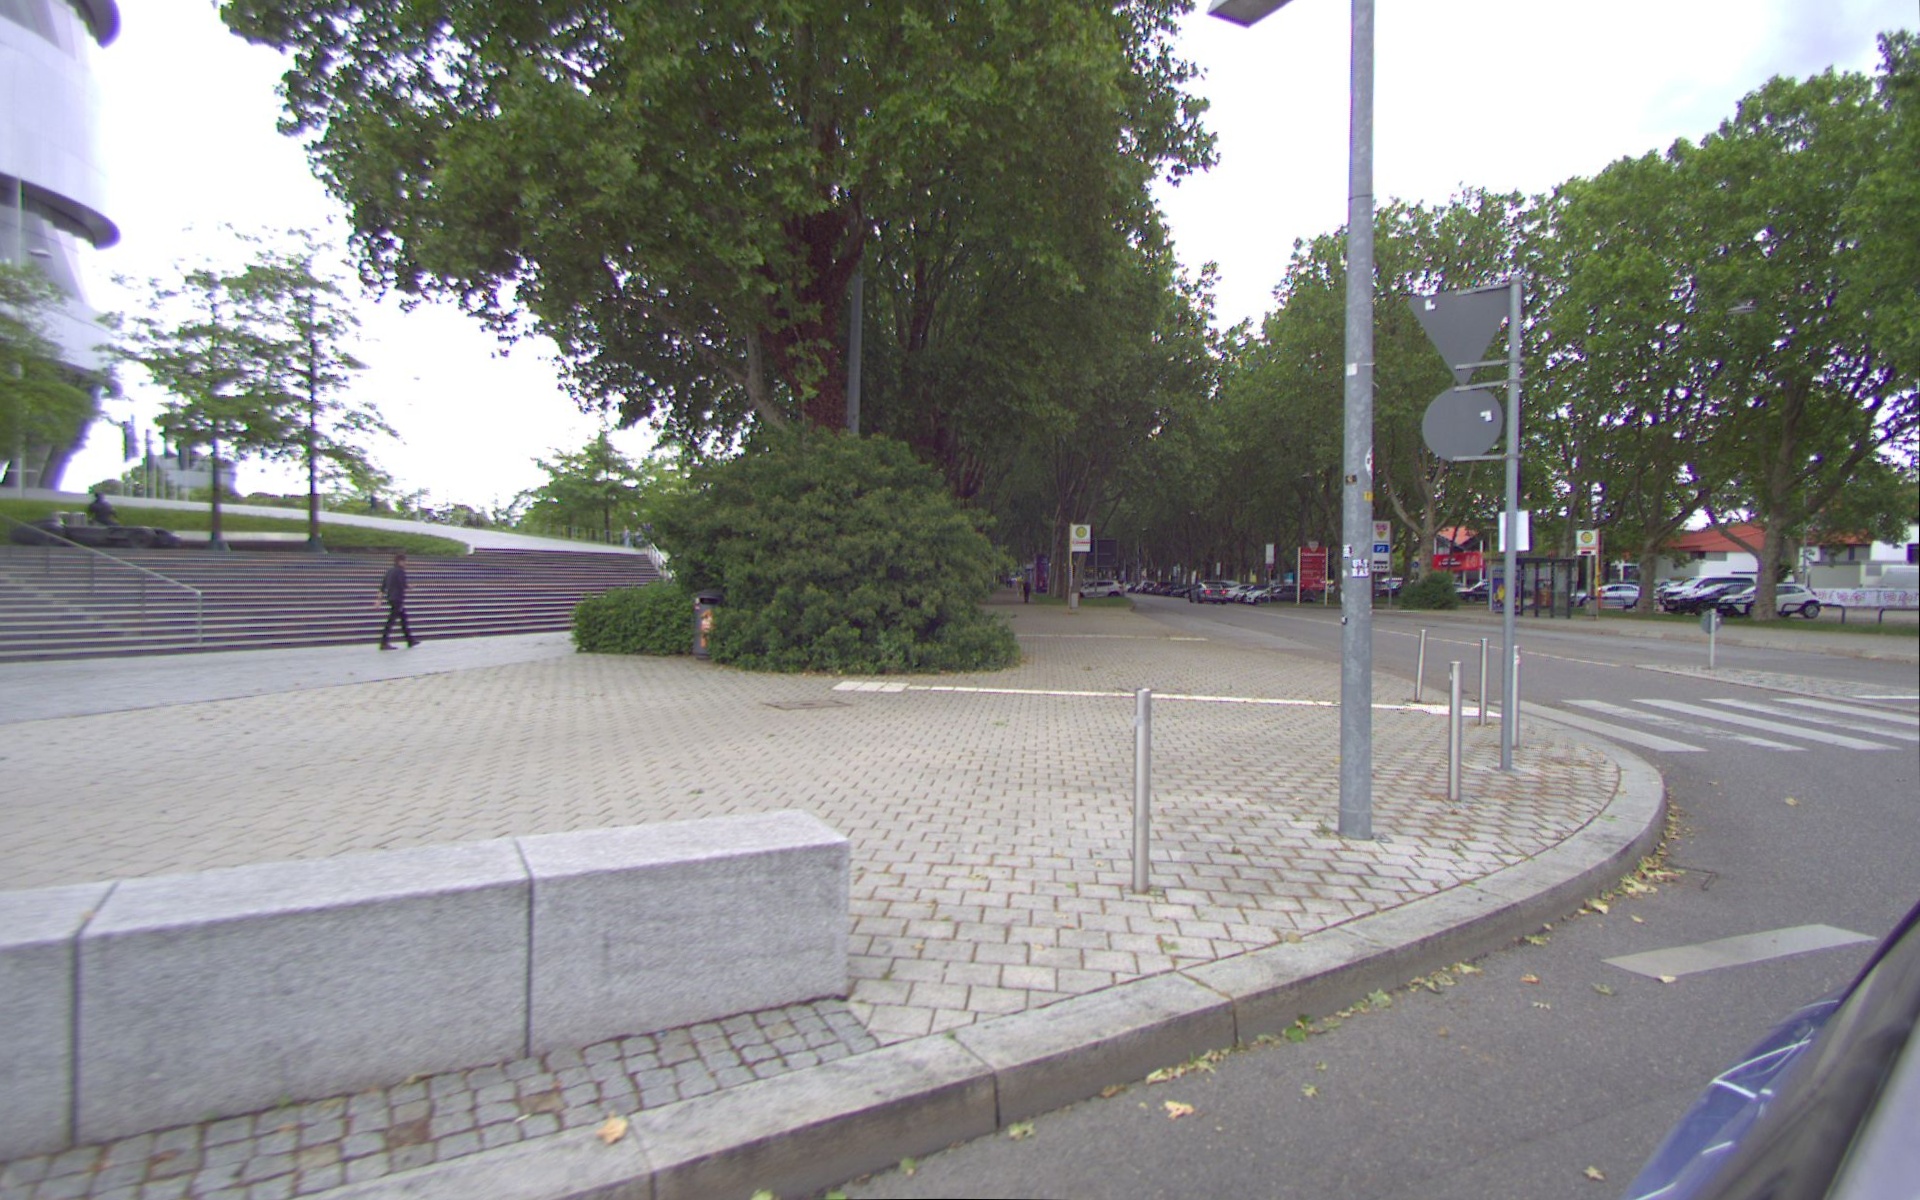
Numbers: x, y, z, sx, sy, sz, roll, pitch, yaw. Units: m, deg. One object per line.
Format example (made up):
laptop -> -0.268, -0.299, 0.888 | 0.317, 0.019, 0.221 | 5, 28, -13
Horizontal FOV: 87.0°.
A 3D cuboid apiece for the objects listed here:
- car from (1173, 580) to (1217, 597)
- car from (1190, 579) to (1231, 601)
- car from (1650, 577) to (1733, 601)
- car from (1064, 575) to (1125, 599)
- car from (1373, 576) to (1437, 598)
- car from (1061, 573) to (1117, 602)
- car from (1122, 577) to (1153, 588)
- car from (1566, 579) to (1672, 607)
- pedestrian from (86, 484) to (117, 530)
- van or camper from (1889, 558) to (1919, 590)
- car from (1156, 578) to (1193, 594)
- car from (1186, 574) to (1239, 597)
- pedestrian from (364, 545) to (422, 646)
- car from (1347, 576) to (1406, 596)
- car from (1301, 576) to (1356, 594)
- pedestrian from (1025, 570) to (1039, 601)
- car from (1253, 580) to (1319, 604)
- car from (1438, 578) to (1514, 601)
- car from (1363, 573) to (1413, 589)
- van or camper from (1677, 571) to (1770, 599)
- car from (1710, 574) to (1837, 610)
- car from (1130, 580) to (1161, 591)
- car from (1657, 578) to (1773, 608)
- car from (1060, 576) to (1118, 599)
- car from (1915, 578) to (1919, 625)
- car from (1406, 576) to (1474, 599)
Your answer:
car -> 22.886, -1.160, 98.603 | 3.924, 1.438, 1.752 | 3, 1, 7
car -> 17.468, -0.723, 70.792 | 1.872, 1.471, 4.811 | 2, 1, 3
car -> 48.311, -0.747, 66.906 | 4.153, 1.567, 1.789 | 0, 1, 2
car -> 9.883, -0.966, 74.525 | 4.282, 1.654, 1.923 | -1, 0, 4
car -> 37.992, -1.129, 86.512 | 4.450, 1.784, 2.295 | 0, 1, 3
car -> 9.459, -0.950, 74.429 | 3.928, 2.039, 1.998 | -1, 0, 4
car -> 26.416, -2.626, 150.801 | 4.341, 1.442, 1.775 | 2, 1, 2
car -> 39.275, -0.443, 60.463 | 4.912, 1.571, 2.088 | 0, 1, 18
pedestrian -> -25.119, -2.712, 29.614 | 0.613, 1.284, 0.498 | 0, 1, 32
van or camper -> 60.679, -1.605, 62.462 | 1.963, 2.038, 5.301 | 0, 2, 2
car -> 24.766, -1.636, 116.805 | 3.871, 1.729, 1.751 | 2, 1, 2
car -> 22.673, -1.288, 90.945 | 4.249, 1.832, 1.868 | 2, 1, 0
pedestrian -> -10.554, -0.092, 18.860 | 0.703, 1.845, 0.623 | 0, 1, 3
car -> 38.423, -1.282, 93.445 | 4.483, 1.747, 2.295 | 0, 1, 3
car -> 38.584, -1.616, 106.049 | 4.865, 1.819, 2.183 | 0, 1, 1
pedestrian -> 4.802, -0.986, 67.090 | 0.771, 2.038, 0.600 | -1, 1, -13
car -> 21.984, -0.578, 68.395 | 3.936, 1.559, 1.803 | 0, 1, 5
car -> 36.569, -0.734, 71.803 | 4.255, 1.567, 2.203 | 0, 1, 3
car -> 50.411, -2.274, 119.286 | 4.865, 1.819, 2.183 | 0, 1, 1
van or camper -> 48.584, -0.984, 64.470 | 4.255, 1.730, 2.131 | 0, 1, 3
car -> 36.175, -0.359, 45.107 | 3.928, 1.541, 2.000 | 0, 1, 4
car -> 25.343, -1.997, 138.408 | 3.929, 1.471, 1.854 | 0, 1, 5
car -> 35.747, -0.350, 48.005 | 3.927, 1.340, 2.001 | 0, 1, 3
car -> 9.802, -0.961, 77.156 | 4.282, 1.625, 1.923 | -1, 0, 4
car -> 35.142, 0.082, 33.638 | 4.560, 1.587, 2.106 | 0, 2, 6
car -> 37.427, -0.995, 79.033 | 4.255, 1.730, 2.131 | 0, 1, 3
